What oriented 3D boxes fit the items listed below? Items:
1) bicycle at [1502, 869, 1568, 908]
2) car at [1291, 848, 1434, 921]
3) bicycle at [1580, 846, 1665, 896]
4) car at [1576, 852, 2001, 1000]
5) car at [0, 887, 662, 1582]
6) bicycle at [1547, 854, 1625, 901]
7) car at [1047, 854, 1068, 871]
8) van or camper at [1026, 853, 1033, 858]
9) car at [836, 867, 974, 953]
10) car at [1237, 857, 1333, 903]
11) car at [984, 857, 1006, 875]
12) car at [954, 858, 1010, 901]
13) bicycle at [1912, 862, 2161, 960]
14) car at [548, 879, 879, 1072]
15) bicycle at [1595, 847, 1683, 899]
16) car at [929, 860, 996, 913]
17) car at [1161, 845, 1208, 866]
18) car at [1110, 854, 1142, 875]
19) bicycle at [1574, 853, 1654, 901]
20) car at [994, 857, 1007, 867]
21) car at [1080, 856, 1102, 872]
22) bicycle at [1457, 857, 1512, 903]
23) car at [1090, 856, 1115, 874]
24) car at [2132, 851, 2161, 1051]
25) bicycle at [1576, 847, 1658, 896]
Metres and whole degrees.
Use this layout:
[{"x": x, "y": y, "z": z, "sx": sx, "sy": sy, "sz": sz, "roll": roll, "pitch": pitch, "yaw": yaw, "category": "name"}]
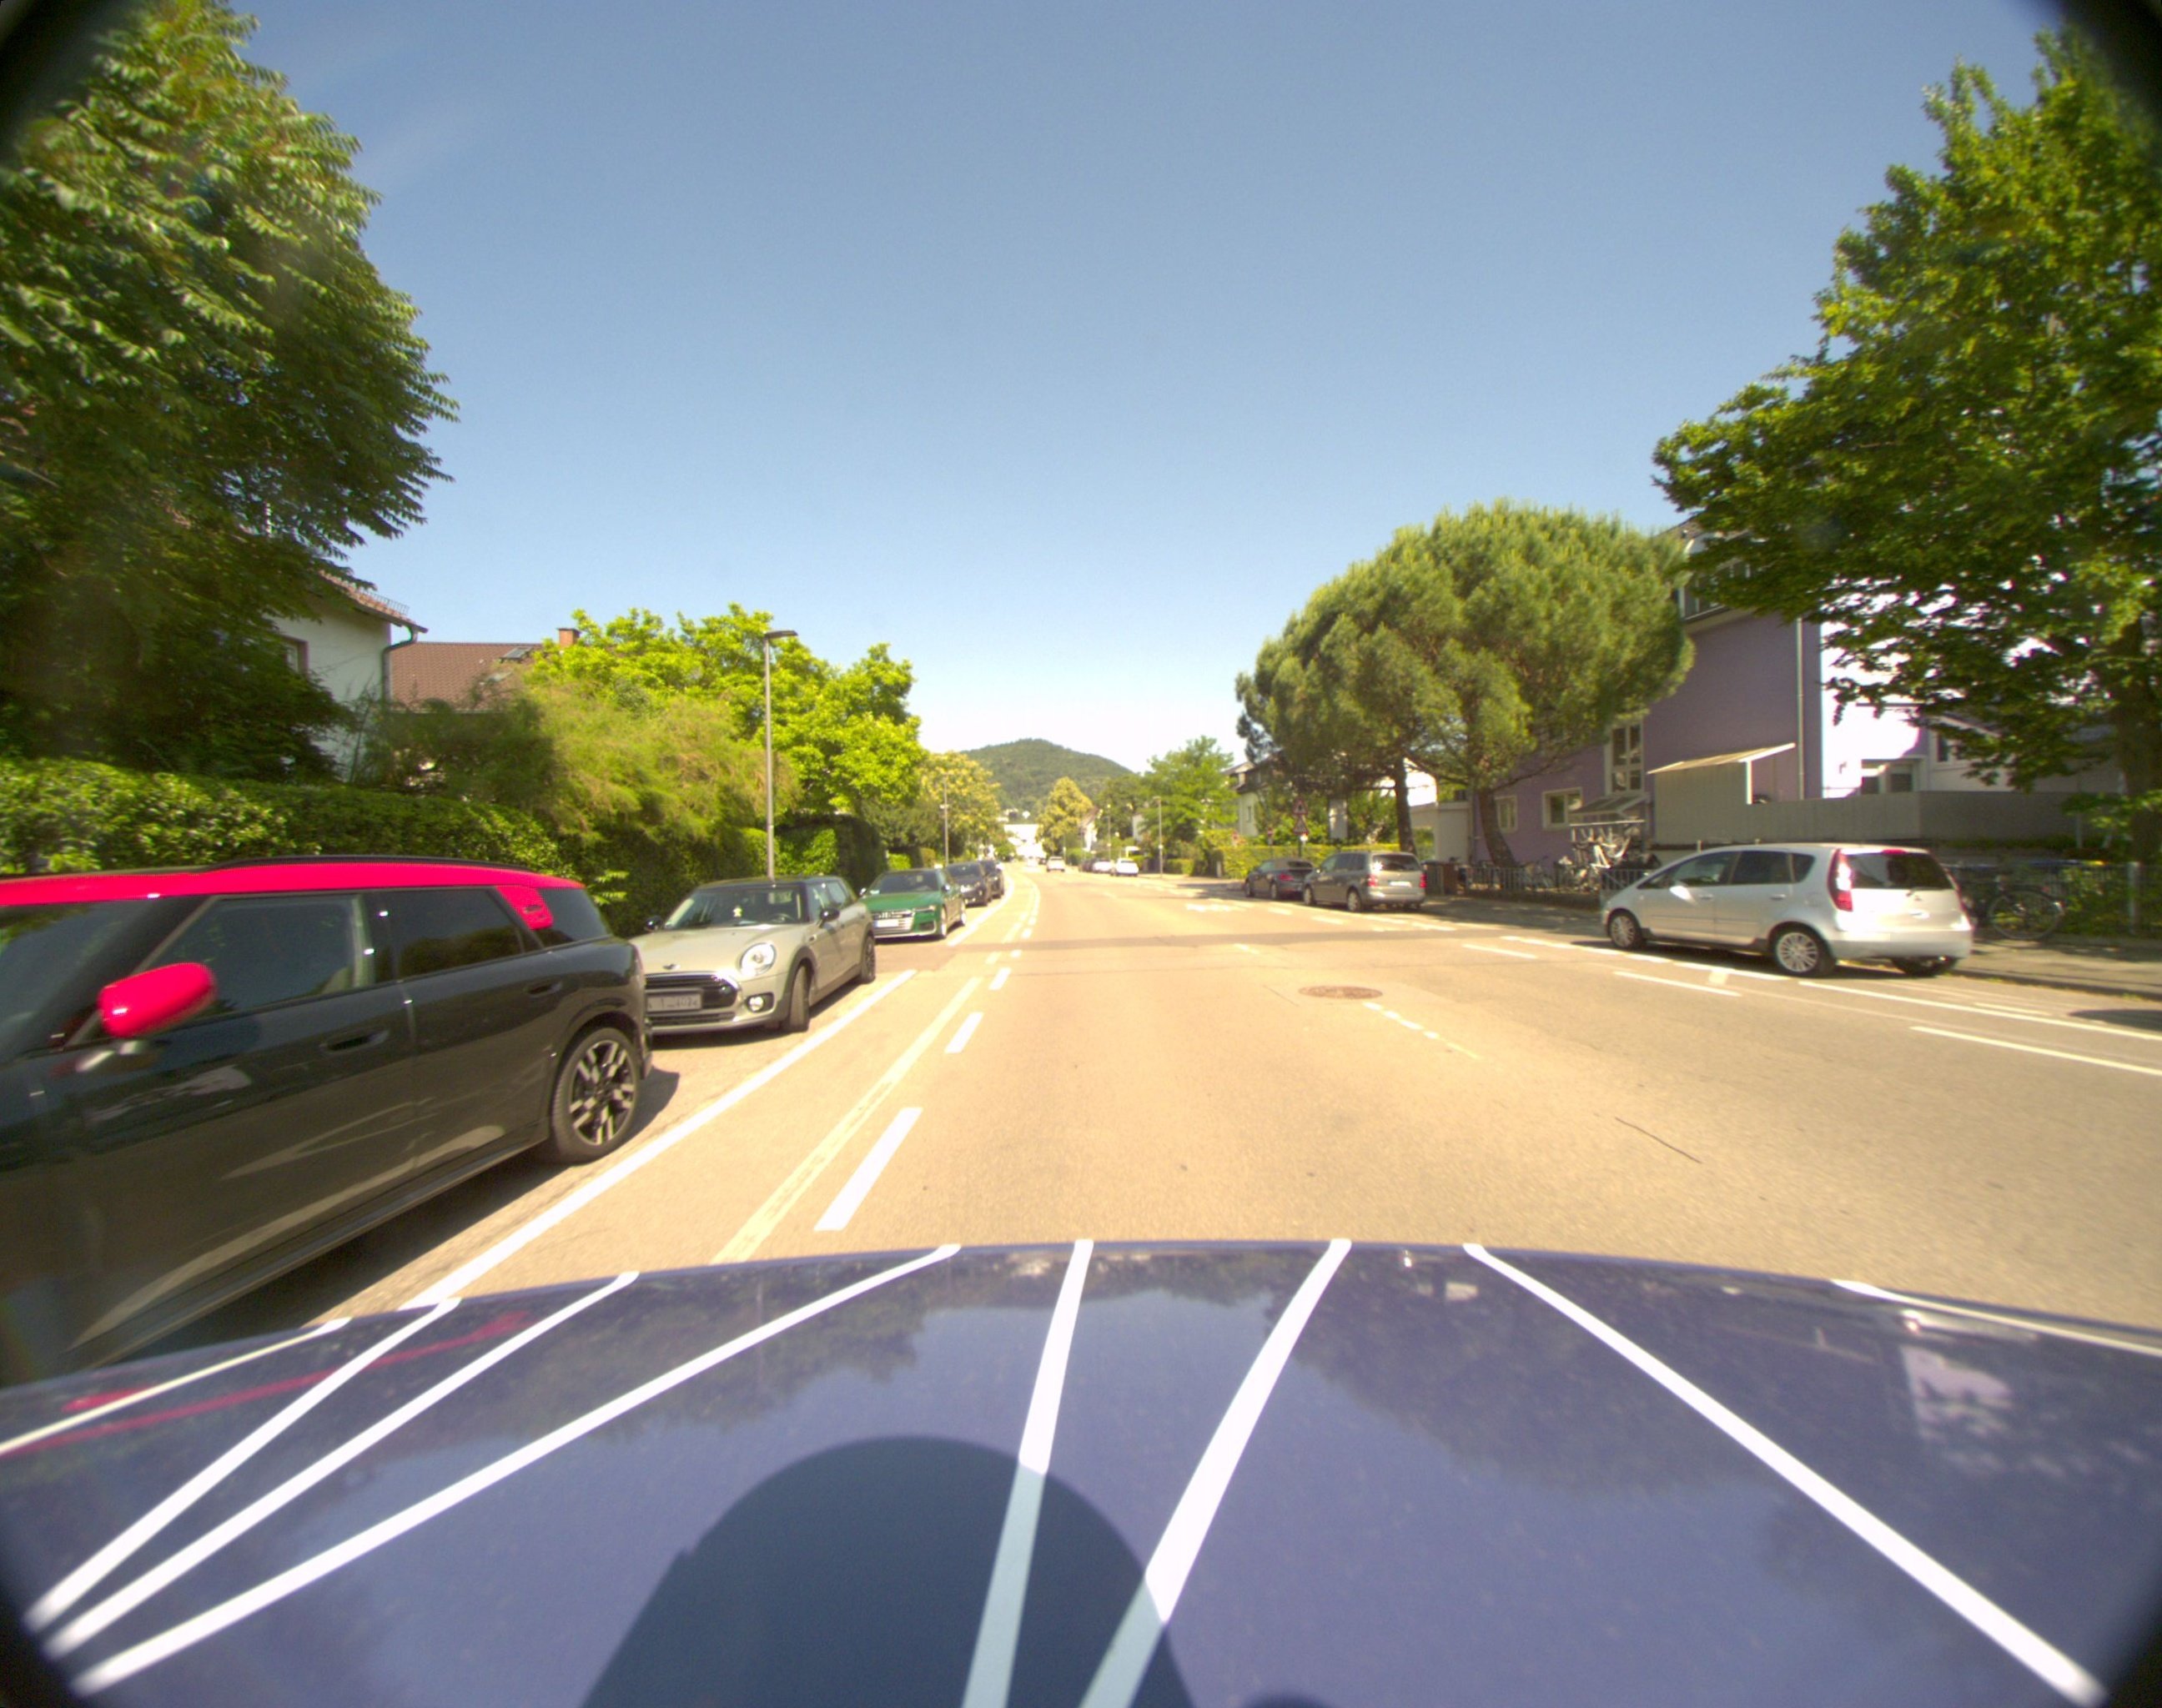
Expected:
[{"x": 11.918, "y": 0.884, "z": 20.009, "sx": 0.459, "sy": 0.948, "sz": 1.913, "roll": -1, "pitch": 0, "yaw": -5, "category": "bicycle"}, {"x": 7.538, "y": 0.765, "z": 20.892, "sx": 1.846, "sy": 1.754, "sz": 4.583, "roll": 0, "pitch": 0, "yaw": -6, "category": "car"}, {"x": 15.043, "y": 0.469, "z": 21.118, "sx": 2.178, "sy": 1.375, "sz": 0.503, "roll": 0, "pitch": 0, "yaw": -8, "category": "bicycle"}, {"x": 8.785, "y": 0.771, "z": 10.013, "sx": 1.725, "sy": 1.550, "sz": 3.999, "roll": 0, "pitch": 0, "yaw": -4, "category": "car"}, {"x": -3.499, "y": 0.990, "z": 2.515, "sx": 1.766, "sy": 1.584, "sz": 4.314, "roll": -1, "pitch": 0, "yaw": 1, "category": "car"}, {"x": 15.141, "y": 0.694, "z": 22.783, "sx": 2.178, "sy": 1.375, "sz": 0.502, "roll": 0, "pitch": 0, "yaw": -8, "category": "bicycle"}, {"x": -2.676, "y": 0.935, "z": 85.890, "sx": 2.006, "sy": 1.803, "sz": 4.763, "roll": 0, "pitch": 0, "yaw": -6, "category": "car"}, {"x": -16.812, "y": 0.554, "z": 247.990, "sx": 1.999, "sy": 1.705, "sz": 3.999, "roll": -1, "pitch": 0, "yaw": -2, "category": "van or camper"}, {"x": -3.598, "y": 1.078, "z": 16.504, "sx": 1.817, "sy": 1.454, "sz": 4.788, "roll": -4, "pitch": 0, "yaw": 0, "category": "car"}, {"x": 6.965, "y": 0.859, "z": 26.388, "sx": 1.846, "sy": 1.448, "sz": 4.192, "roll": 0, "pitch": -1, "yaw": -6, "category": "car"}, {"x": -9.030, "y": 1.214, "z": 79.383, "sx": 2.000, "sy": 1.696, "sz": 3.996, "roll": -2, "pitch": 0, "yaw": -9, "category": "car"}, {"x": -4.103, "y": 1.025, "z": 32.147, "sx": 1.817, "sy": 1.550, "sz": 4.599, "roll": -3, "pitch": 0, "yaw": -2, "category": "car"}, {"x": 12.758, "y": 0.701, "z": 10.277, "sx": 0.514, "sy": 1.132, "sz": 2.239, "roll": -2, "pitch": 0, "yaw": -2, "category": "bicycle"}, {"x": -3.487, "y": 1.038, "z": 8.150, "sx": 1.767, "sy": 1.435, "sz": 4.067, "roll": 0, "pitch": 0, "yaw": -3, "category": "car"}, {"x": 15.103, "y": 0.500, "z": 20.569, "sx": 2.178, "sy": 1.375, "sz": 0.503, "roll": 0, "pitch": 0, "yaw": -8, "category": "bicycle"}, {"x": -4.075, "y": 1.084, "z": 26.737, "sx": 1.817, "sy": 1.550, "sz": 3.915, "roll": -5, "pitch": 0, "yaw": -3, "category": "car"}, {"x": 8.985, "y": 0.151, "z": 66.172, "sx": 3.995, "sy": 1.805, "sz": 2.001, "roll": 0, "pitch": 0, "yaw": 5, "category": "car"}, {"x": 3.536, "y": 0.824, "z": 60.748, "sx": 1.959, "sy": 1.543, "sz": 3.998, "roll": -1, "pitch": 0, "yaw": -5, "category": "car"}, {"x": 15.649, "y": 0.662, "z": 22.317, "sx": 2.178, "sy": 1.375, "sz": 0.503, "roll": 0, "pitch": 0, "yaw": -8, "category": "bicycle"}, {"x": -14.228, "y": 1.472, "z": 134.544, "sx": 2.000, "sy": 1.696, "sz": 3.996, "roll": -2, "pitch": 0, "yaw": -9, "category": "car"}, {"x": 1.052, "y": 1.041, "z": 83.132, "sx": 1.999, "sy": 1.674, "sz": 3.998, "roll": -1, "pitch": 0, "yaw": -5, "category": "car"}, {"x": 11.701, "y": 0.731, "z": 22.080, "sx": 0.459, "sy": 1.259, "sz": 1.913, "roll": -1, "pitch": 0, "yaw": -3, "category": "bicycle"}, {"x": 2.055, "y": 1.023, "z": 73.164, "sx": 1.999, "sy": 1.608, "sz": 3.998, "roll": -1, "pitch": 0, "yaw": -5, "category": "car"}, {"x": 9.397, "y": 0.727, "z": 3.787, "sx": 1.725, "sy": 1.550, "sz": 4.671, "roll": 0, "pitch": 0, "yaw": -4, "category": "car"}, {"x": 15.312, "y": 0.483, "z": 21.713, "sx": 2.178, "sy": 1.375, "sz": 0.503, "roll": 0, "pitch": 0, "yaw": -8, "category": "bicycle"}]
